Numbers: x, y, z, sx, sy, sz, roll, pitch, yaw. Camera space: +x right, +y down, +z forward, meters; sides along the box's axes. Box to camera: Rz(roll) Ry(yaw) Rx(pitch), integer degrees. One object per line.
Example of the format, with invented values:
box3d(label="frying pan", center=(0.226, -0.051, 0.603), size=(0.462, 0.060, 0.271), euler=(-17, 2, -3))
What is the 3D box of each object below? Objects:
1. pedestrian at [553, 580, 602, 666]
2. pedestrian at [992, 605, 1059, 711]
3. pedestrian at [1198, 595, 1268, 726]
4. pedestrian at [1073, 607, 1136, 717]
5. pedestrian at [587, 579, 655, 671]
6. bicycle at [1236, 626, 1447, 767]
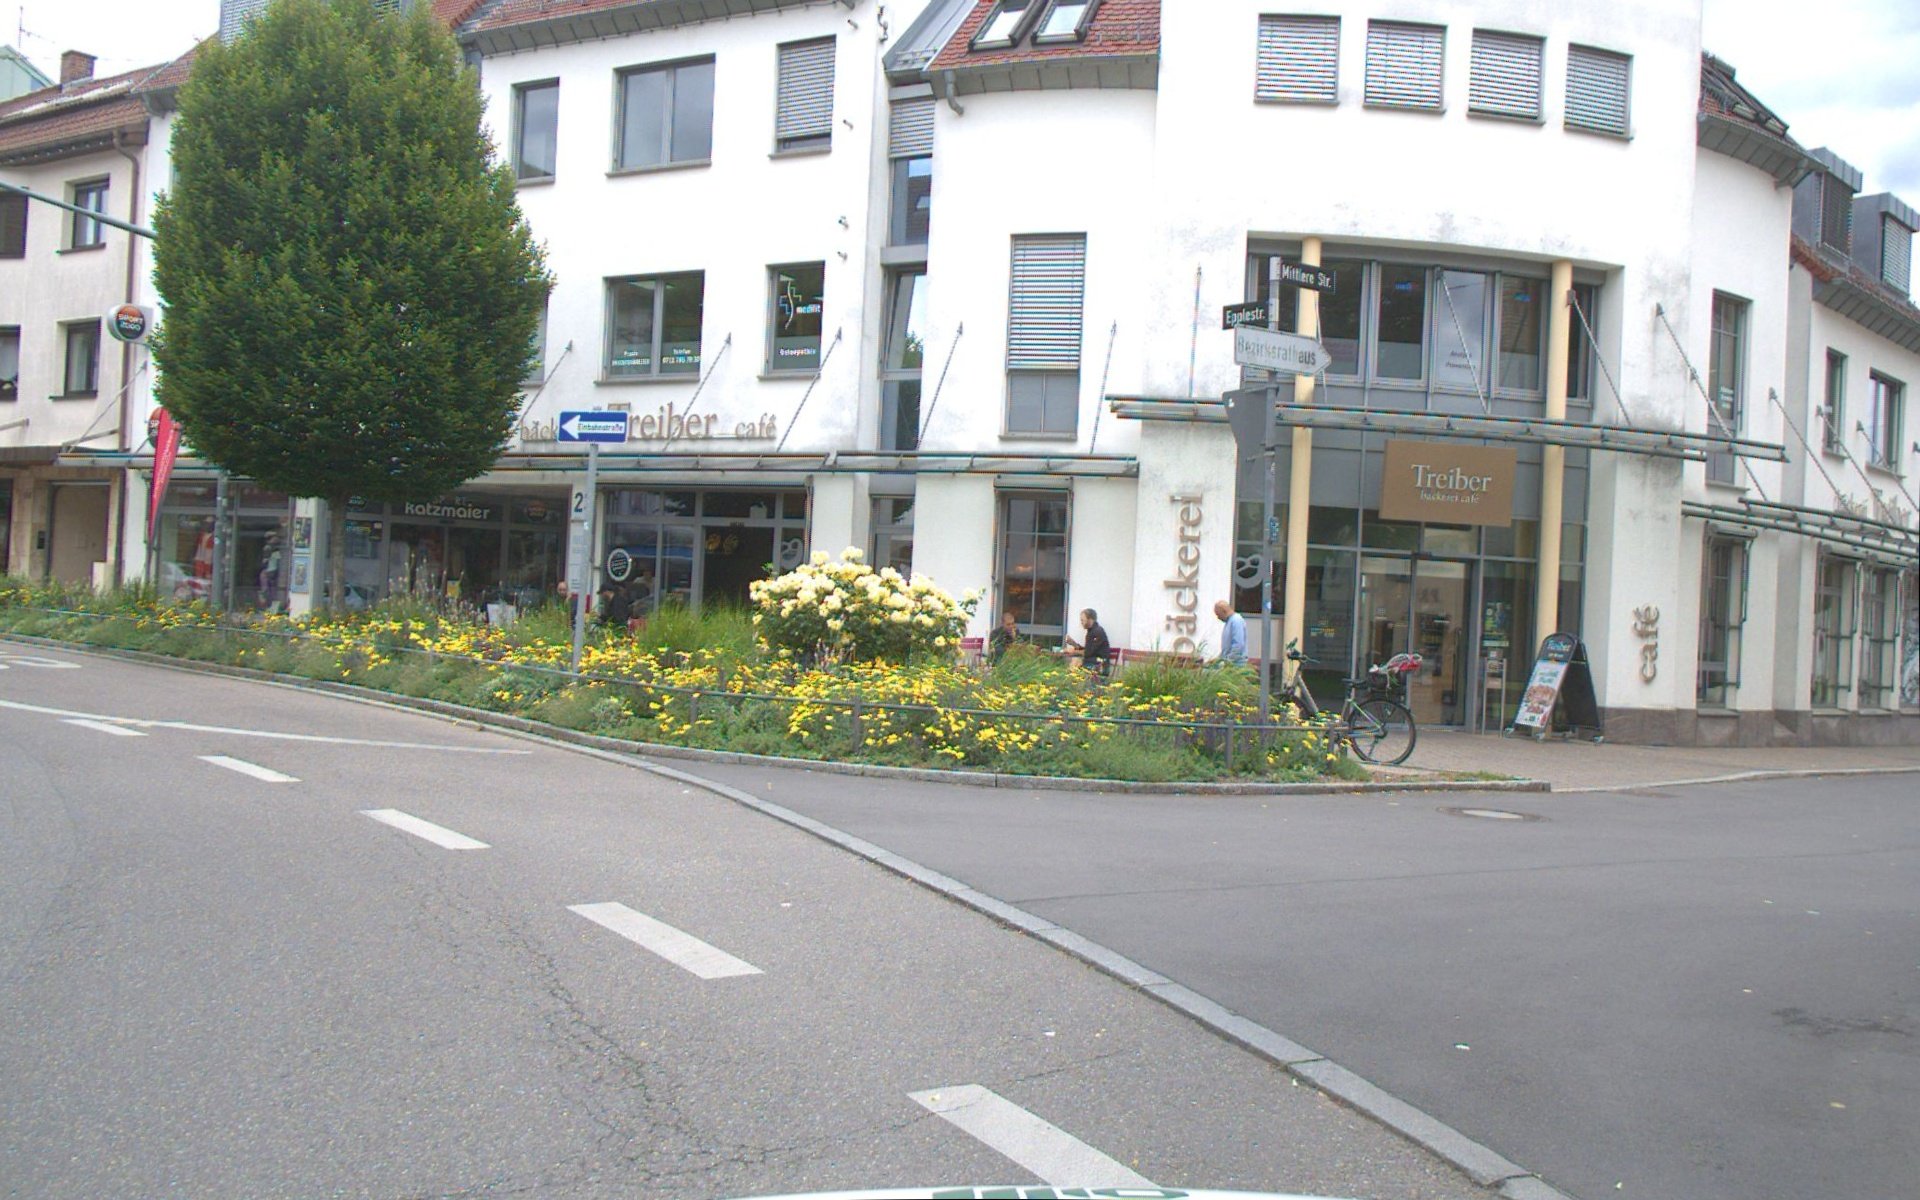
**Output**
box3d(label="pedestrian", center=(-5.939, 0.352, 25.693), size=(0.481, 1.293, 0.501), euler=(3, 0, 30))
box3d(label="pedestrian", center=(0.870, 0.754, 21.963), size=(0.686, 1.355, 0.685), euler=(3, 0, 17))
box3d(label="pedestrian", center=(3.367, 0.727, 20.346), size=(0.686, 1.552, 0.868), euler=(3, 0, 17))
box3d(label="pedestrian", center=(1.888, 0.795, 21.556), size=(0.641, 1.365, 0.696), euler=(3, 0, 17))
box3d(label="pedestrian", center=(-5.126, 0.384, 25.010), size=(0.556, 1.340, 0.763), euler=(3, -2, 29))
box3d(label="bicycle", center=(3.922, 0.959, 17.035), size=(1.937, 1.261, 0.743), euler=(4, 1, 29))
